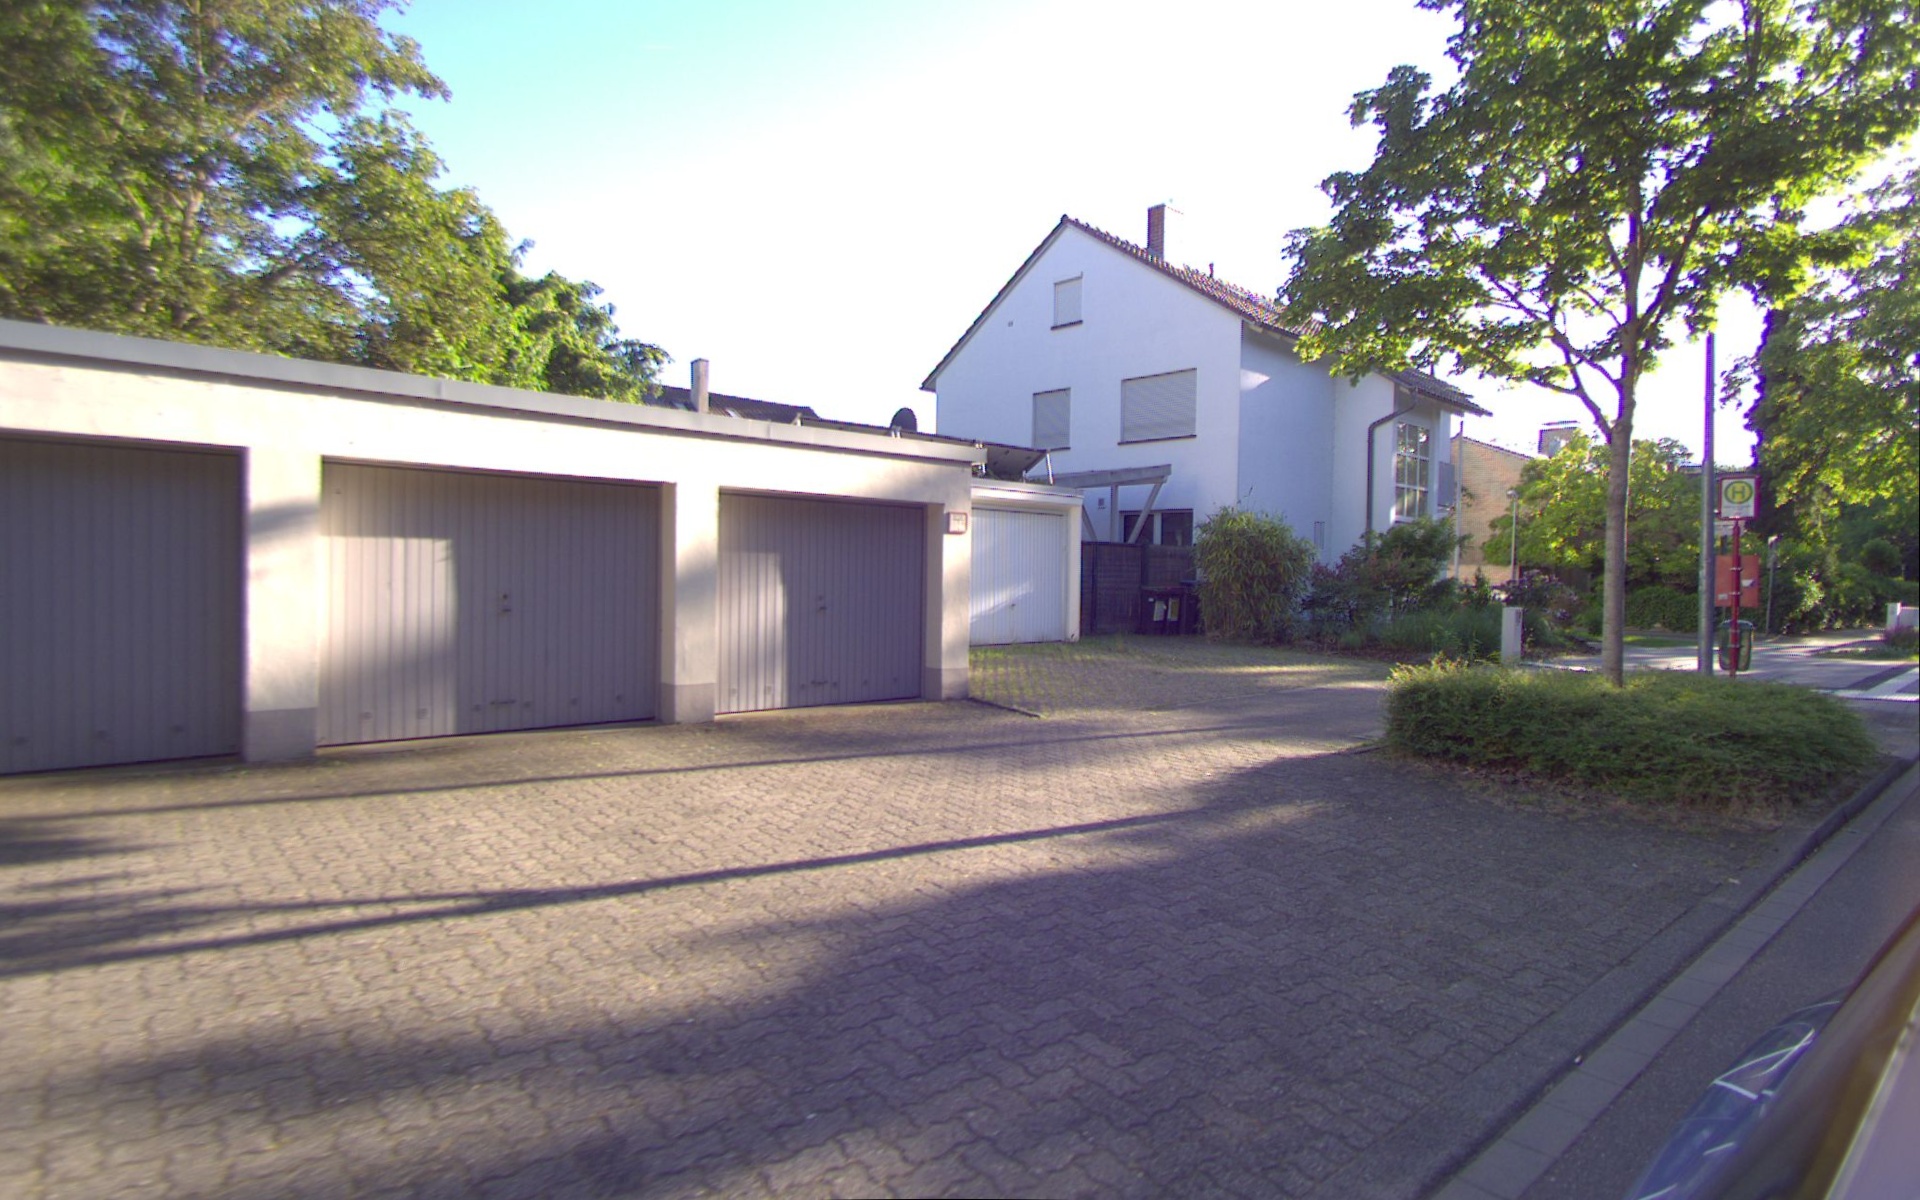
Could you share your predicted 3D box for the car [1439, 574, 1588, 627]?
[{"bbox_3d":[17.117,-0.027,31.399,3.732,1.520,1.664,2,2,45],"label":"car"}]
